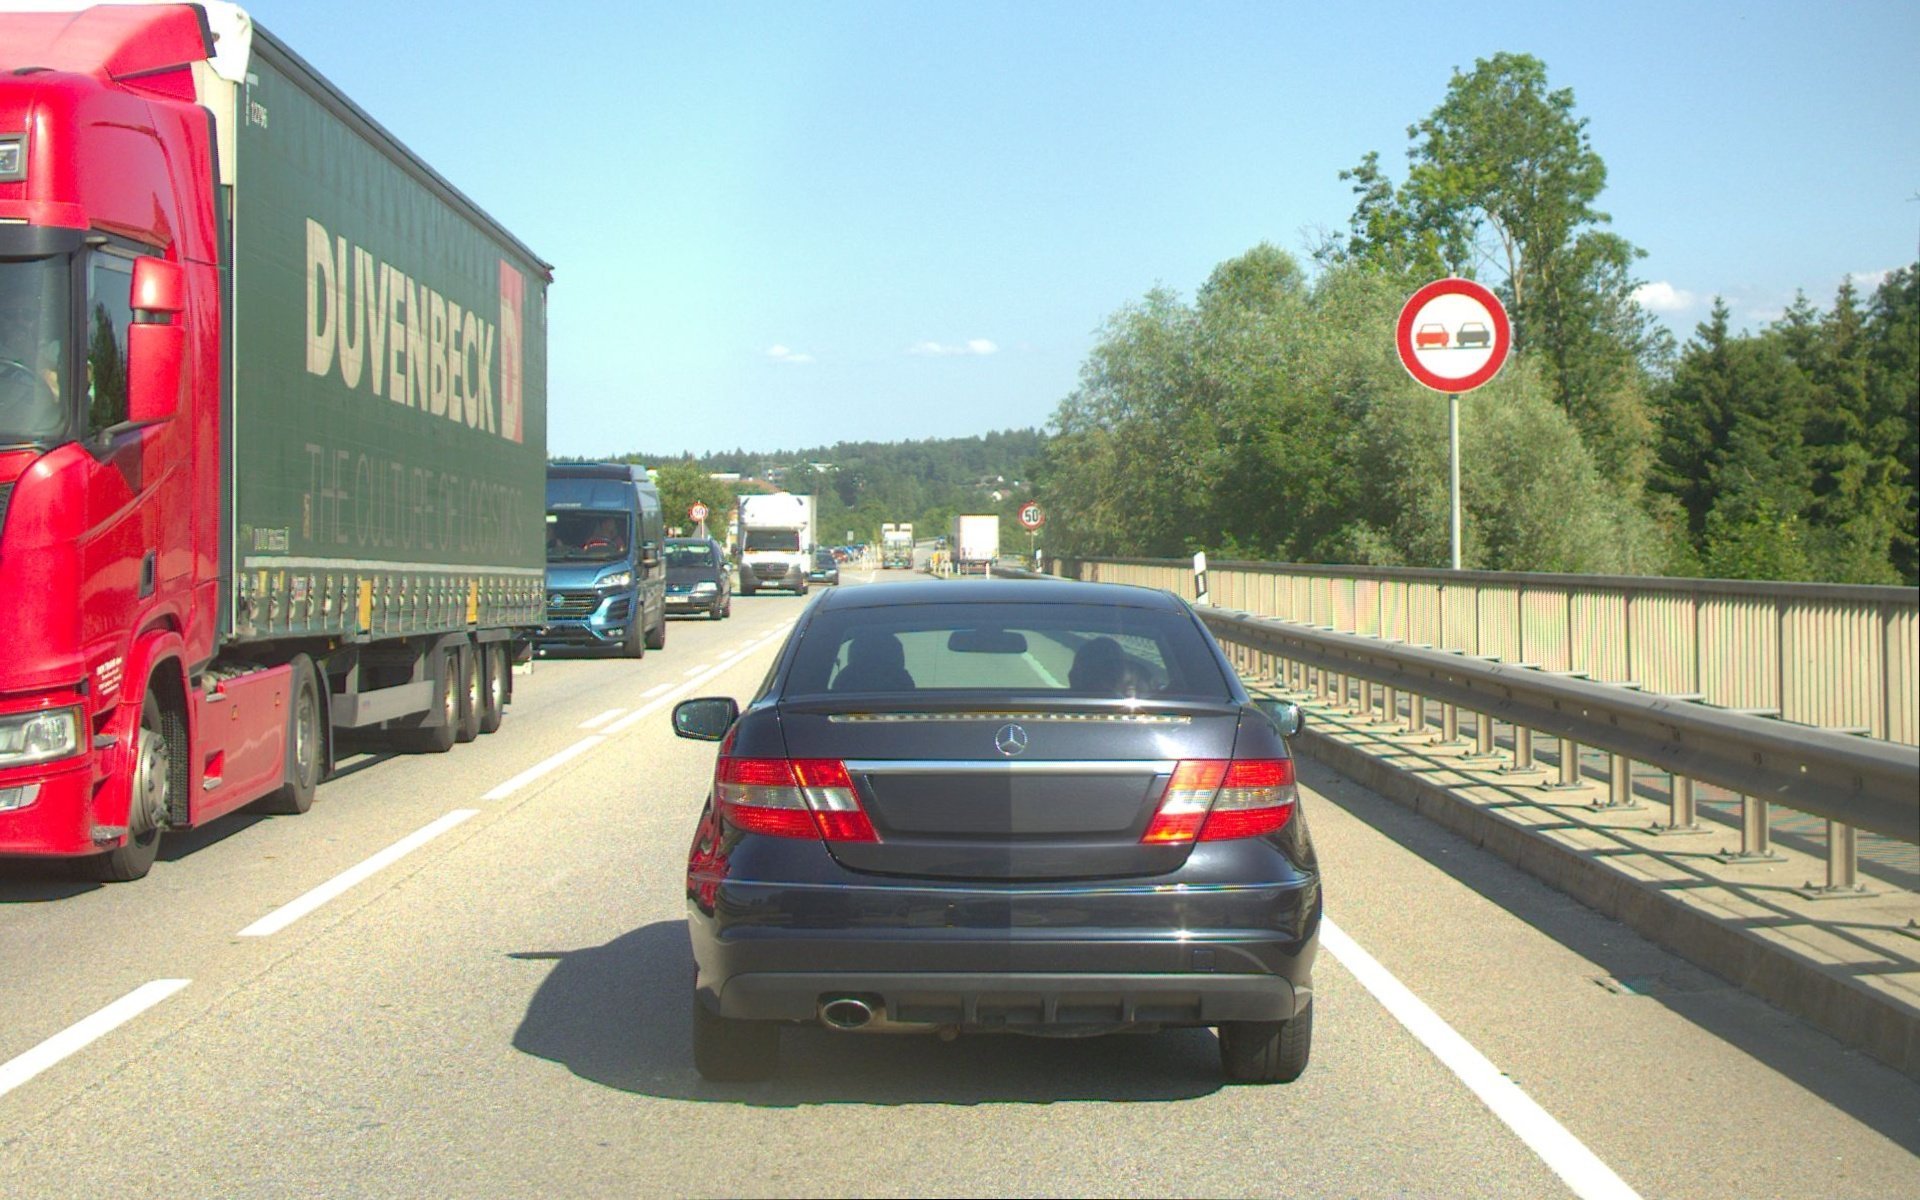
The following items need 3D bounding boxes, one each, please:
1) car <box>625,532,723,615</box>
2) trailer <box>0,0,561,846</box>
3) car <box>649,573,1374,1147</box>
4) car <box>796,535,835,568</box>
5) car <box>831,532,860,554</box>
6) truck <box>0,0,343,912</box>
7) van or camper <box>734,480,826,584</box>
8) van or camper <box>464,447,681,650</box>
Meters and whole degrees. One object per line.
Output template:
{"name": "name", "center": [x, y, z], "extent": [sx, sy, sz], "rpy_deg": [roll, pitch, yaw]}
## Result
{"name": "car", "center": [-5.889, -0.572, 71.108], "extent": [1.841, 1.636, 4.578], "rpy_deg": [0, 1, -3]}
{"name": "trailer", "center": [-4.972, -1.105, 23.594], "extent": [2.907, 4.287, 14.303], "rpy_deg": [0, 1, 0]}
{"name": "car", "center": [0.142, 0.629, 10.527], "extent": [1.793, 1.371, 4.000], "rpy_deg": [0, 1, 0]}
{"name": "car", "center": [-6.388, -2.166, 151.621], "extent": [1.659, 1.431, 4.189], "rpy_deg": [0, 1, -3]}
{"name": "car", "center": [-8.605, -4.280, 258.607], "extent": [1.804, 1.601, 3.915], "rpy_deg": [0, 1, 3]}
{"name": "truck", "center": [-4.941, -0.895, 16.570], "extent": [2.908, 4.170, 5.713], "rpy_deg": [0, 1, 0]}
{"name": "van or camper", "center": [-5.773, -2.187, 111.256], "extent": [2.635, 3.245, 7.750], "rpy_deg": [0, 1, 0]}
{"name": "van or camper", "center": [-5.310, -0.731, 47.960], "extent": [2.430, 2.633, 6.405], "rpy_deg": [0, 1, -1]}
